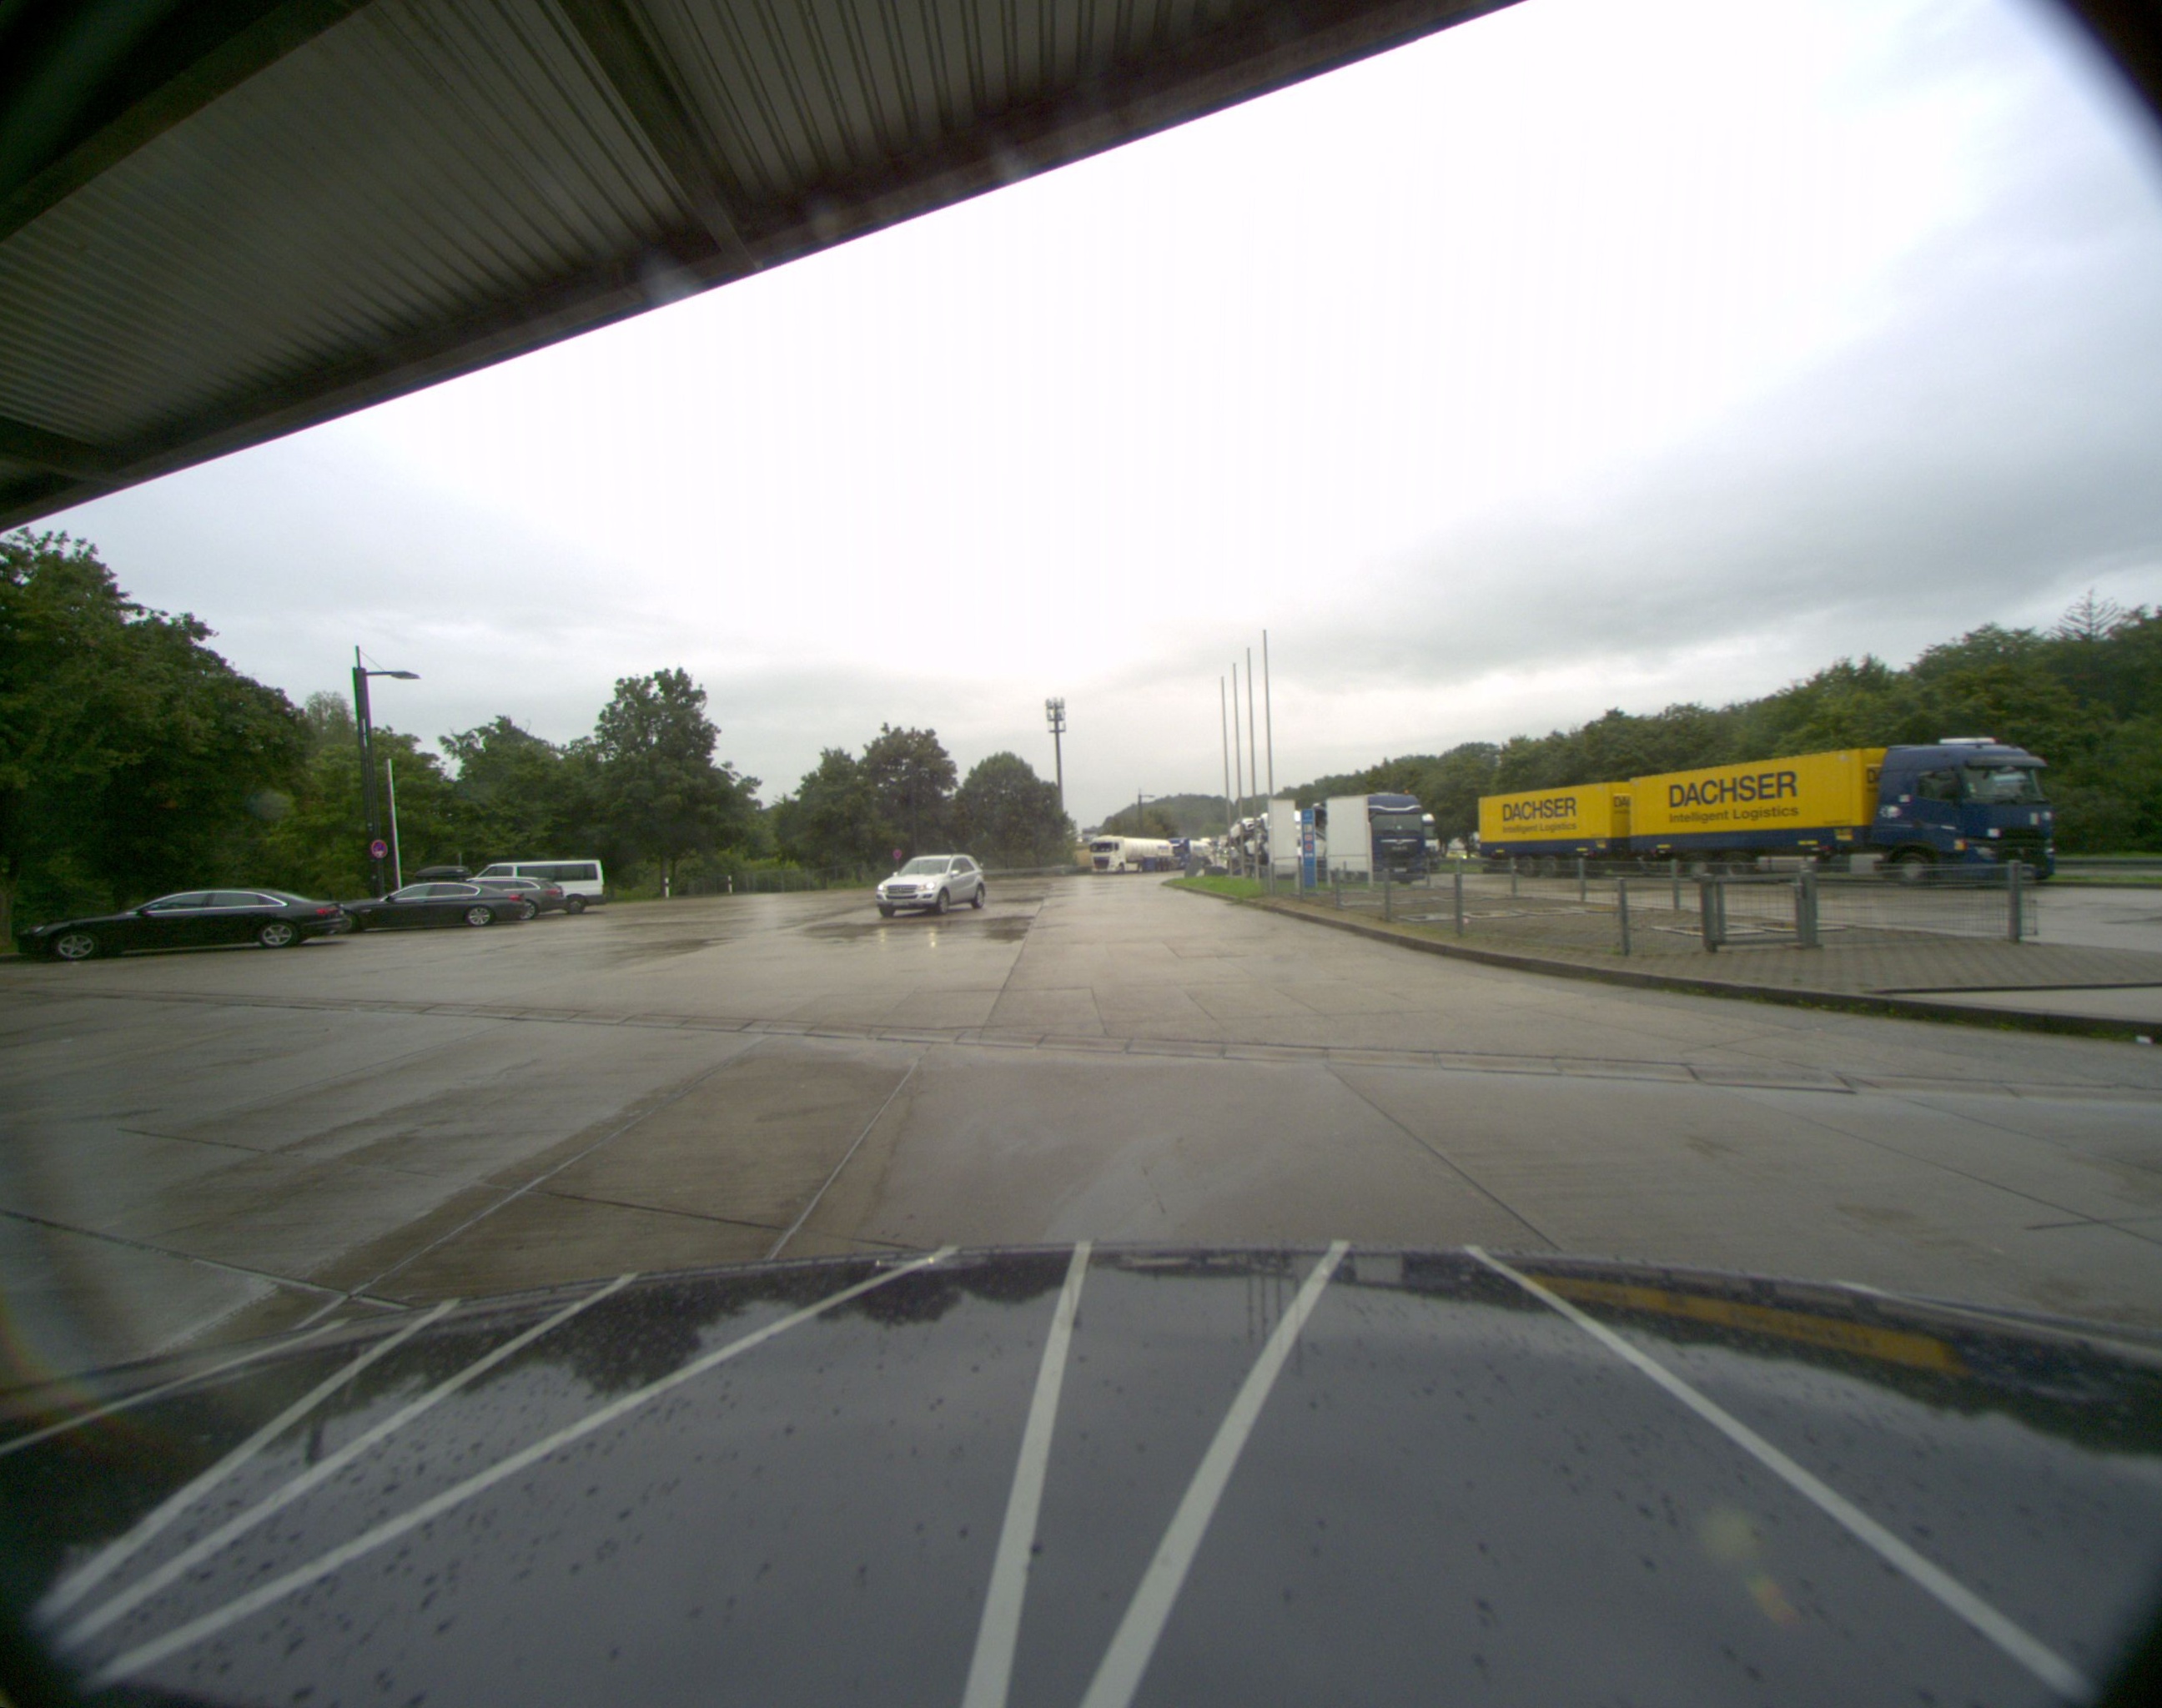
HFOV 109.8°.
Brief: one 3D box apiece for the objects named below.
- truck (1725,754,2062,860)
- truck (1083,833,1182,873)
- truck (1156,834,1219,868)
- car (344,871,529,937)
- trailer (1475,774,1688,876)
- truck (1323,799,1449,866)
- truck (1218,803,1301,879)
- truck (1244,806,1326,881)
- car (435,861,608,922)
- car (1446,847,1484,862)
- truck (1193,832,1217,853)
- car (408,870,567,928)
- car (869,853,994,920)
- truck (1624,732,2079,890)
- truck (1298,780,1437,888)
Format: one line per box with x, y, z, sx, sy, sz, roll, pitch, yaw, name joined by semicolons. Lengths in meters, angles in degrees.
33.920;-1.758;32.716;2.421;3.785;10.223;-2;1;-10;truck
5.462;-0.158;75.211;3.505;3.584;14.426;-2;0;31;truck
12.789;-0.400;89.692;3.506;3.584;14.685;-2;0;23;truck
-18.867;1.396;22.509;4.007;1.650;1.596;-2;0;-35;car
21.801;-1.182;33.950;2.757;3.894;8.700;-2;1;-9;trailer
19.892;-1.296;50.571;2.757;3.894;10.678;-2;1;-8;truck
10.579;-0.724;45.781;2.665;4.157;6.618;-2;1;-6;truck
11.055;-0.556;41.590;2.665;3.750;4.747;-2;1;-6;truck
-20.418;1.290;27.997;4.898;1.938;2.310;-2;0;-35;car
46.350;0.040;91.804;1.891;1.748;3.994;-2;1;-16;car
31.834;-2.901;195.407;3.145;5.092;11.515;-2;1;-5;truck
-19.462;1.429;25.160;4.007;1.650;1.596;-2;0;-35;car
-4.368;0.912;23.040;1.864;1.787;4.544;-2;0;14;car
23.163;-1.126;24.329;2.757;3.894;10.678;-2;1;-8;truck
12.193;-0.794;33.182;2.665;4.157;7.103;-2;0;-6;truck
